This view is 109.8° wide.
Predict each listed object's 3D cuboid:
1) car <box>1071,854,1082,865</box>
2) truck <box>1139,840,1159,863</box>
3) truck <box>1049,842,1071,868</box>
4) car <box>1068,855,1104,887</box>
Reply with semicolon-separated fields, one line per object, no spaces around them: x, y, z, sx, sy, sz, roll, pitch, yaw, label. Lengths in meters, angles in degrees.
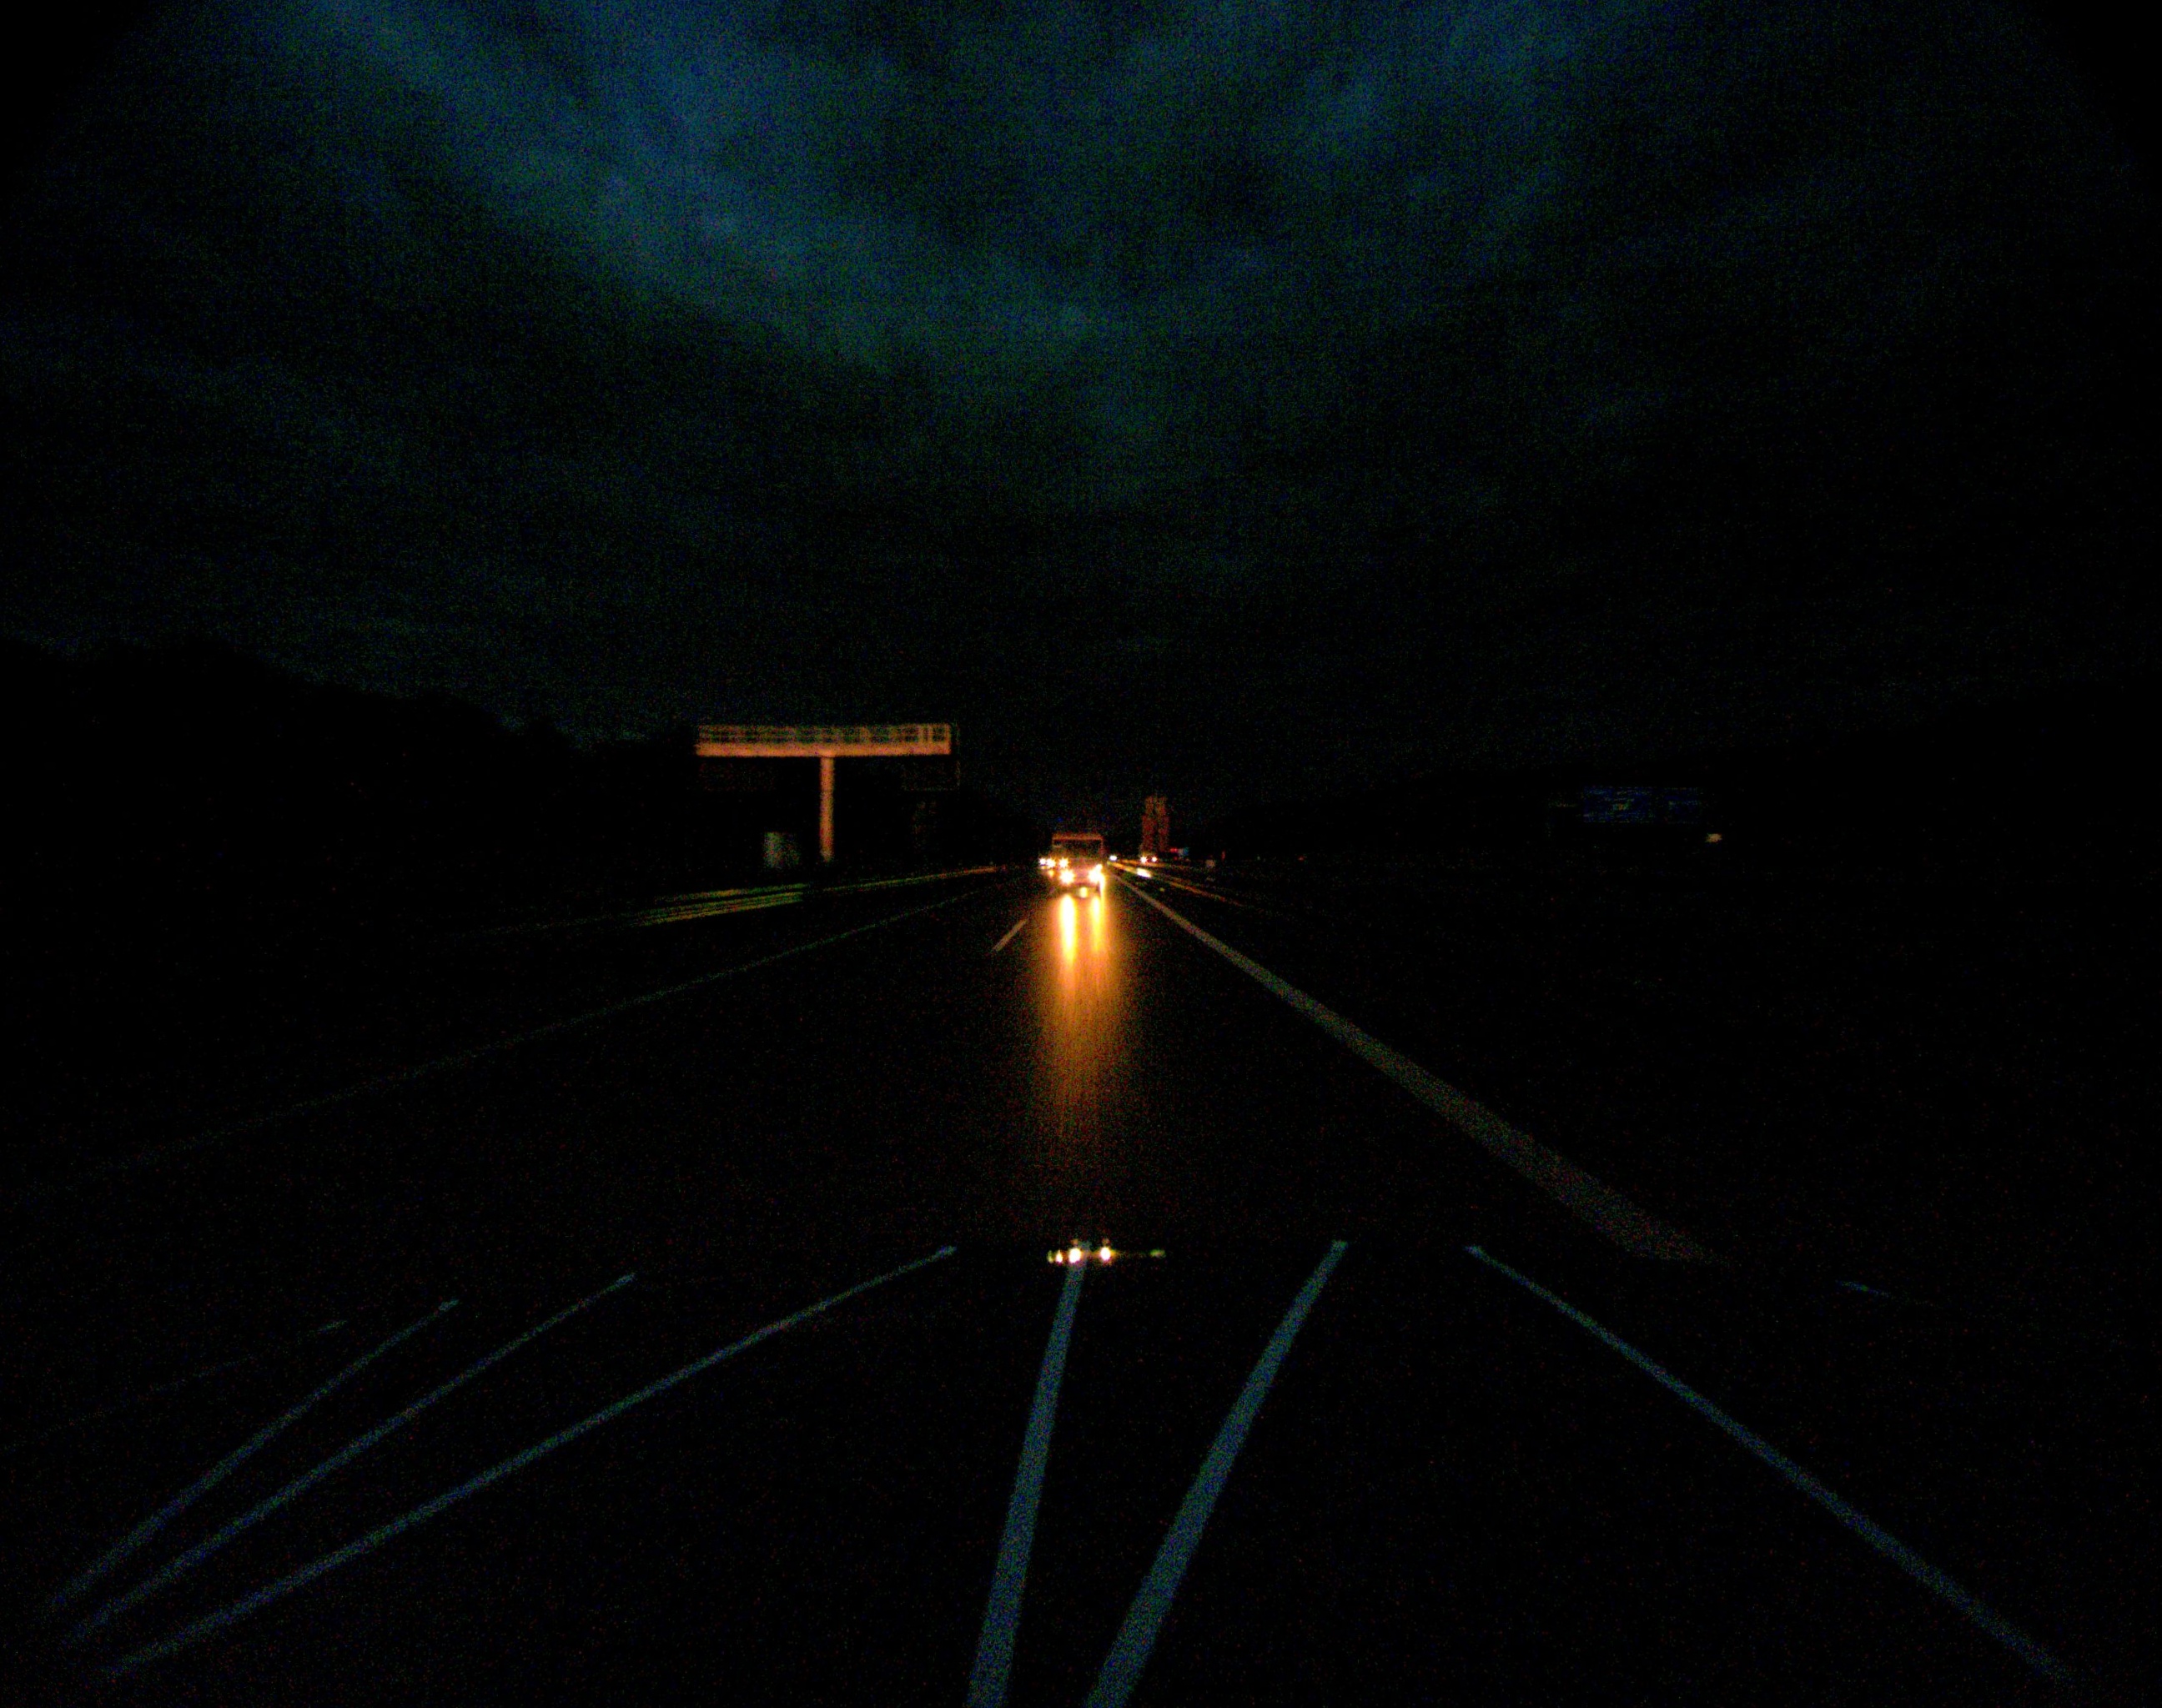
-0.847;0.970;143.014;1.999;2.002;3.999;0;0;-2;car
13.145;-0.503;147.855;3.046;4.276;9.891;0;0;1;truck
-2.512;0.123;92.259;2.274;2.954;6.632;-2;0;0;truck
0.263;0.812;37.990;1.669;1.551;3.757;0;0;1;car
